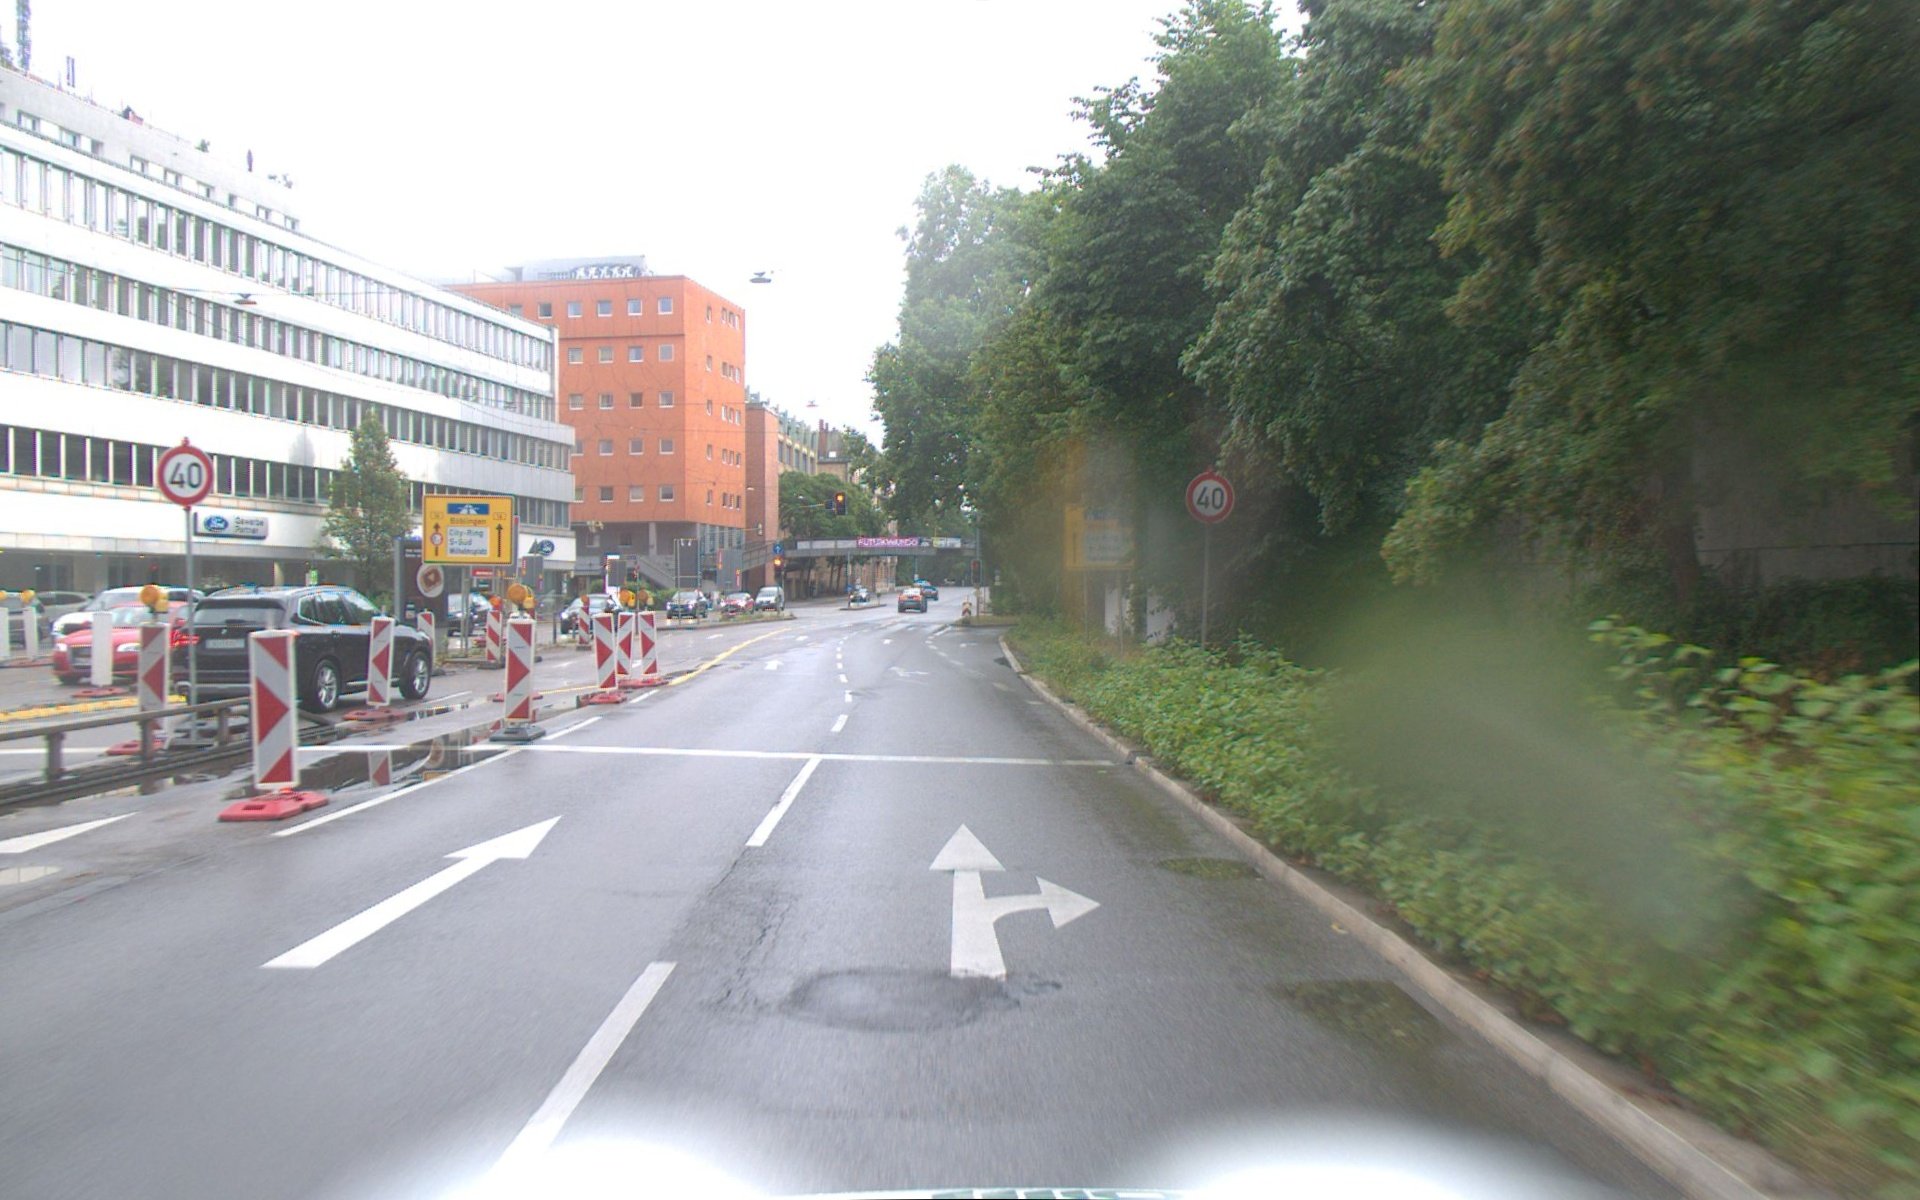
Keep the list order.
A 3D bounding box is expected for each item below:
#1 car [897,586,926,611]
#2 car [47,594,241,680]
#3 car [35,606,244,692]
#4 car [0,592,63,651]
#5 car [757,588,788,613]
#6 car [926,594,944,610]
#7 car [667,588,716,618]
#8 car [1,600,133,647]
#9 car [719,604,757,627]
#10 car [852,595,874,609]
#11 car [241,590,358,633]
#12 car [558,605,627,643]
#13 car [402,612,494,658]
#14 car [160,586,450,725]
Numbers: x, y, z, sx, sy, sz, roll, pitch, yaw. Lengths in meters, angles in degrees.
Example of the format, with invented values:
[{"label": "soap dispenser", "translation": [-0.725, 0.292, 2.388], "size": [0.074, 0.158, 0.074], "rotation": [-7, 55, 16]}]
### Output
[{"label": "car", "translation": [-3.678, -0.127, 126.412], "size": [2.077, 1.765, 4.198], "rotation": [2, 1, -1]}, {"label": "car", "translation": [-17.794, 0.756, 36.348], "size": [1.939, 1.737, 4.830], "rotation": [-1, 0, -1]}, {"label": "car", "translation": [-14.703, 0.835, 29.899], "size": [1.700, 1.428, 4.288], "rotation": [0, 0, -1]}, {"label": "car", "translation": [-30.438, 0.679, 51.495], "size": [1.809, 1.810, 4.734], "rotation": [-2, 0, 10]}, {"label": "car", "translation": [-14.366, 0.047, 127.087], "size": [1.697, 1.817, 4.303], "rotation": [-2, 0, 2]}, {"label": "car", "translation": [-2.746, 0.184, 183.279], "size": [1.727, 1.726, 3.706], "rotation": [-2, 0, 1]}, {"label": "car", "translation": [-16.199, 0.188, 100.049], "size": [1.806, 1.768, 4.607], "rotation": [-1, 0, 5]}, {"label": "car", "translation": [-34.549, 0.894, 64.034], "size": [4.335, 1.680, 1.832], "rotation": [-2, 0, -35]}, {"label": "car", "translation": [-15.377, 1.080, 114.888], "size": [1.791, 1.528, 4.374], "rotation": [-2, 0, 3]}, {"label": "car", "translation": [-10.435, 0.223, 178.064], "size": [1.952, 1.545, 4.001], "rotation": [0, 0, 2]}, {"label": "car", "translation": [-32.329, 0.557, 81.028], "size": [4.946, 1.930, 1.969], "rotation": [-2, 0, -42]}, {"label": "car", "translation": [-14.402, 0.923, 65.011], "size": [1.654, 1.378, 4.116], "rotation": [-2, 0, 2]}, {"label": "car", "translation": [-18.207, 1.213, 58.947], "size": [1.715, 1.540, 4.002], "rotation": [-1, -1, 5]}, {"label": "car", "translation": [-8.977, 0.678, 23.170], "size": [1.906, 1.625, 4.673], "rotation": [2, 1, 4]}]
